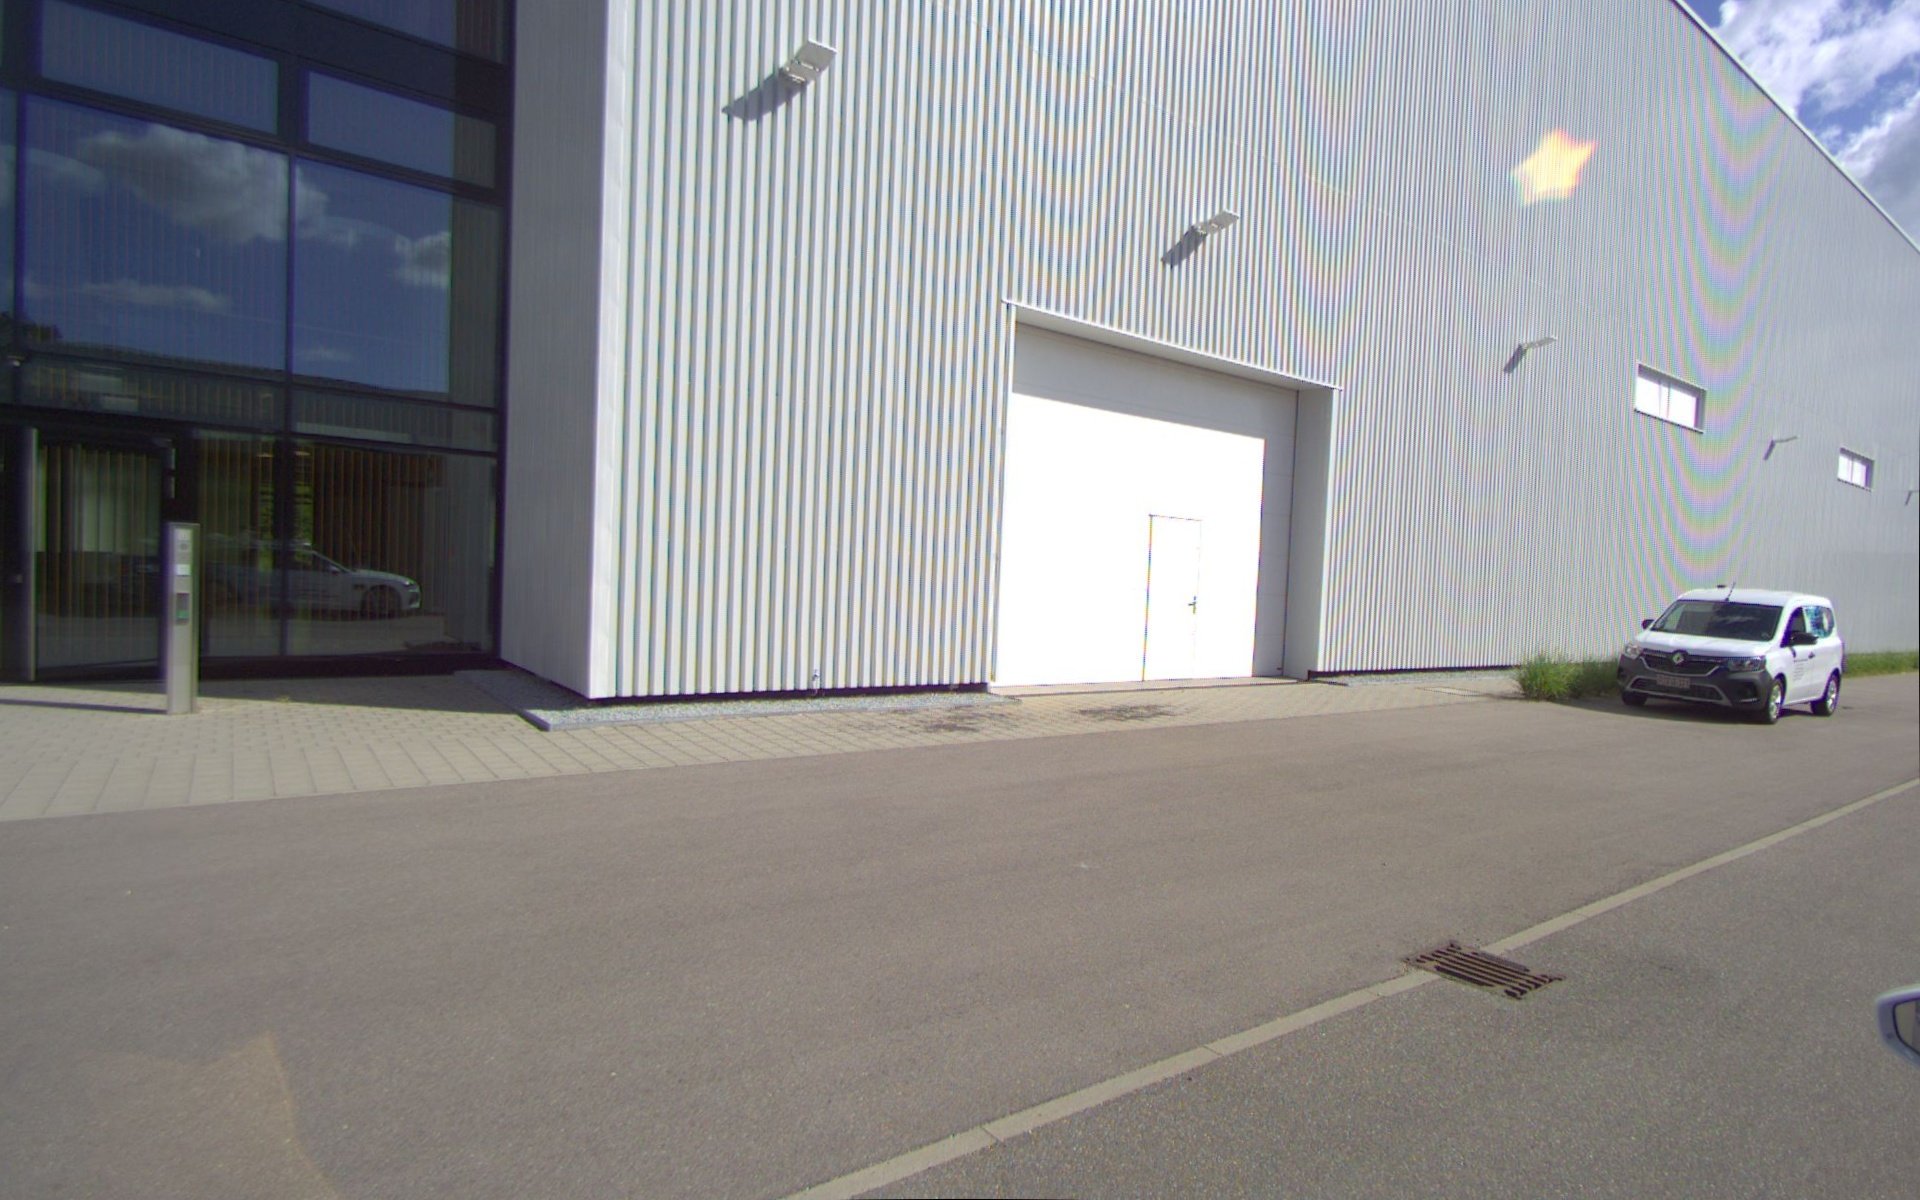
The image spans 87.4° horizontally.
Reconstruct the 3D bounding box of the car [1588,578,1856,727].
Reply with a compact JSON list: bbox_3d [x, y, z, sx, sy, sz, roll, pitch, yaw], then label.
[{"bbox_3d":[11.456,0.705,15.000,4.555,1.814,1.914,1,3,-37],"label":"car"}]
